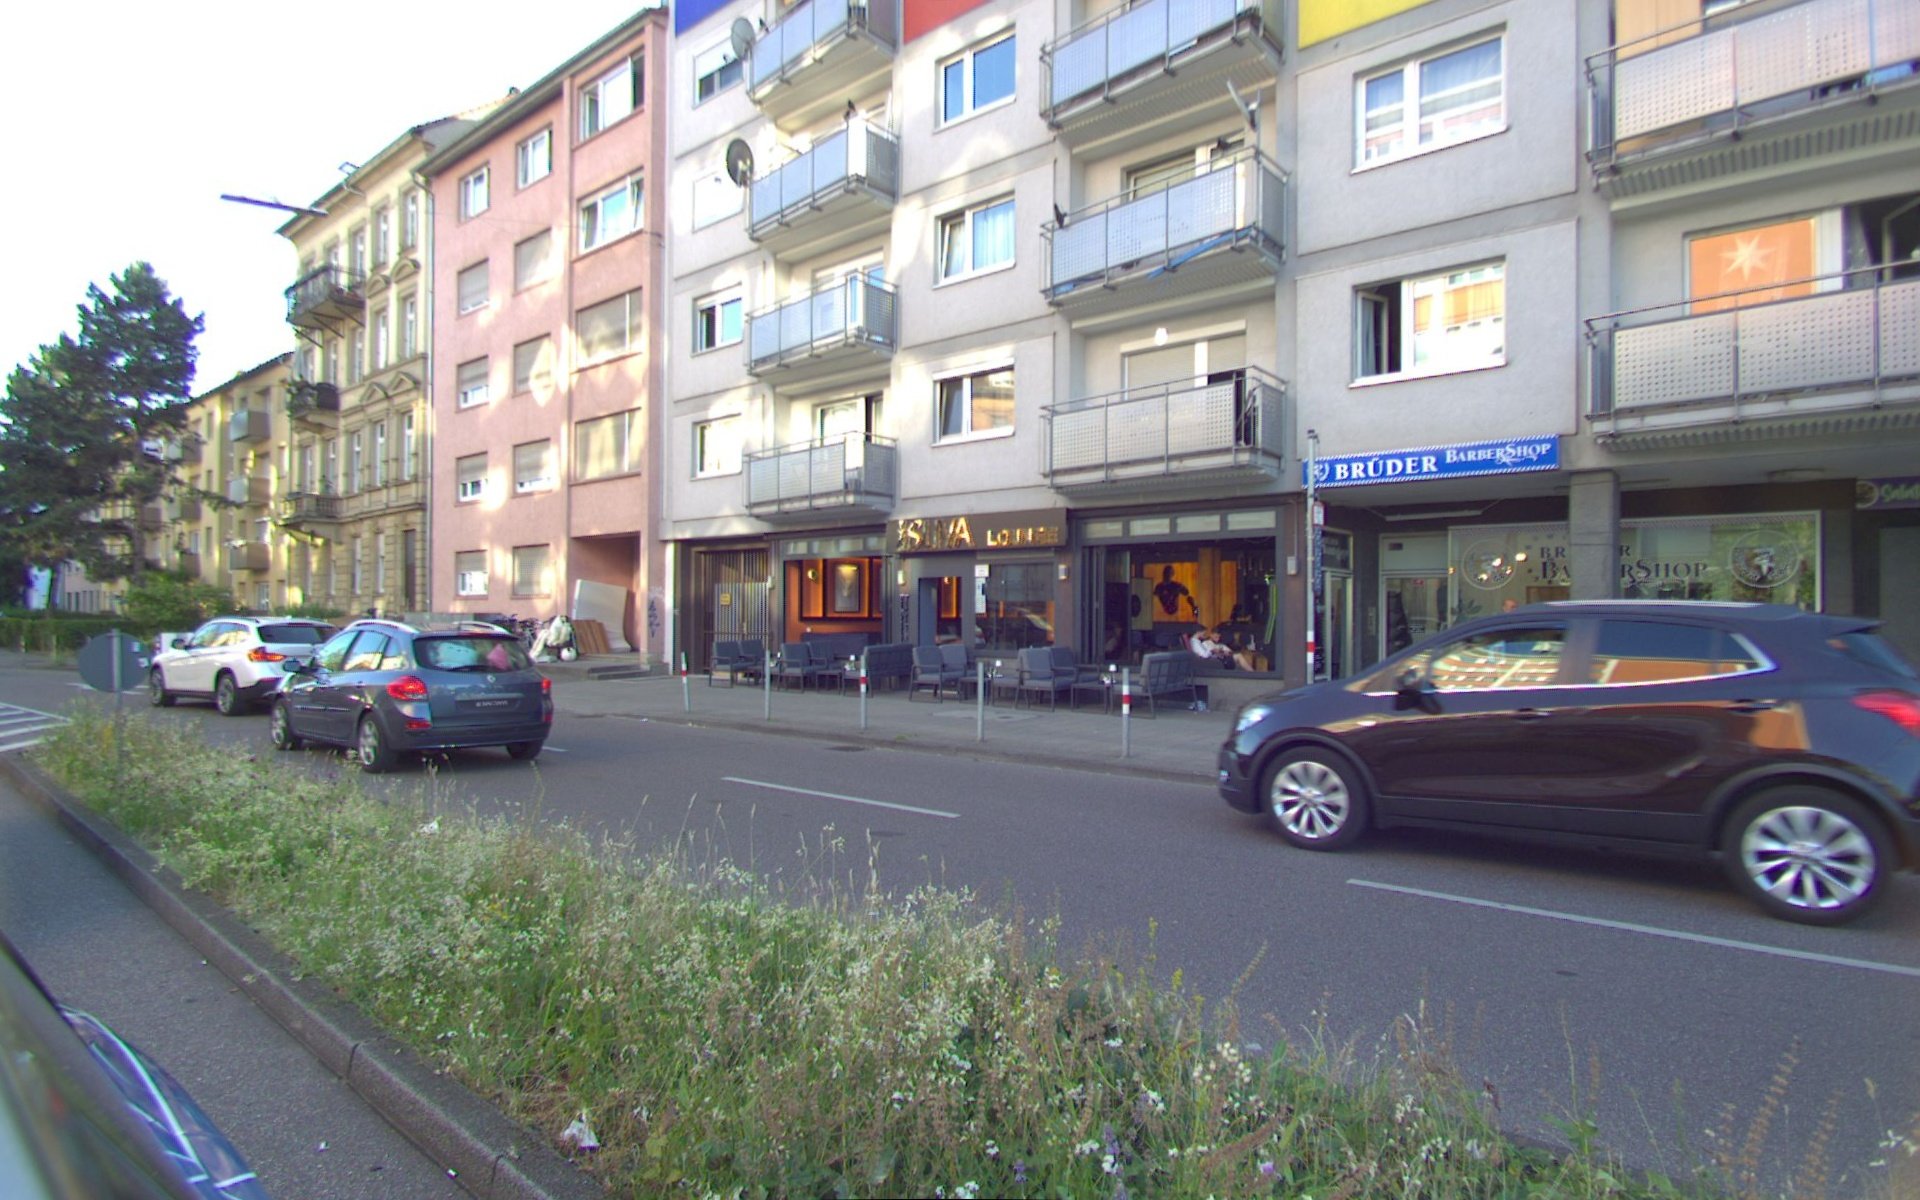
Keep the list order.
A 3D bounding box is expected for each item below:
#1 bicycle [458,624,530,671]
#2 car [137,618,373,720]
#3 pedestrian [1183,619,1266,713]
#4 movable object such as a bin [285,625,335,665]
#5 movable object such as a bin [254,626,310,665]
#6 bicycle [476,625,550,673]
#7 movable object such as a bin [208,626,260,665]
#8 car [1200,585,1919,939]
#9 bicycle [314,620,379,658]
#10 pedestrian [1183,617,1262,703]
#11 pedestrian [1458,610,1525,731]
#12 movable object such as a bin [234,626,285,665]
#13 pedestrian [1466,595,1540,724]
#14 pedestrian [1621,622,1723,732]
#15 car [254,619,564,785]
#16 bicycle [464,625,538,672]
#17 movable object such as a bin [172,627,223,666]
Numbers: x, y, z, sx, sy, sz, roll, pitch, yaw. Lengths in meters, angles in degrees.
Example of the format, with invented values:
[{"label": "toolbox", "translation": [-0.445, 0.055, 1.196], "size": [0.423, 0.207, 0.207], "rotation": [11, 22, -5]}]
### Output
[{"label": "bicycle", "translation": [-12.520, 1.262, 27.226], "size": [0.473, 1.200, 1.758], "rotation": [-1, -2, 38]}, {"label": "car", "translation": [-11.773, 1.083, 16.842], "size": [4.235, 1.499, 1.738], "rotation": [-1, -3, 33]}, {"label": "pedestrian", "translation": [4.012, 0.969, 15.316], "size": [0.882, 1.357, 0.961], "rotation": [-1, -2, 40]}, {"label": "movable object such as a bin", "translation": [-20.915, 1.438, 32.569], "size": [0.837, 1.242, 1.193], "rotation": [0, -1, 1]}, {"label": "movable object such as a bin", "translation": [-21.844, 1.448, 32.620], "size": [0.916, 1.242, 1.292], "rotation": [0, -1, 1]}, {"label": "bicycle", "translation": [-11.589, 1.244, 26.294], "size": [0.473, 1.200, 1.758], "rotation": [-1, -2, 38]}, {"label": "movable object such as a bin", "translation": [-23.640, 1.473, 32.964], "size": [0.837, 1.242, 1.193], "rotation": [0, -1, 1]}, {"label": "car", "translation": [3.780, 0.812, 6.384], "size": [4.098, 1.641, 1.702], "rotation": [-1, -3, 40]}, {"label": "bicycle", "translation": [-19.966, 1.246, 32.956], "size": [0.473, 1.200, 1.758], "rotation": [-1, -2, 38]}, {"label": "pedestrian", "translation": [4.315, 0.963, 16.630], "size": [0.974, 1.357, 0.871], "rotation": [-1, -2, 40]}, {"label": "pedestrian", "translation": [6.713, 0.866, 12.782], "size": [0.625, 1.478, 0.650], "rotation": [-1, -2, 38]}, {"label": "movable object such as a bin", "translation": [-22.771, 1.462, 32.905], "size": [0.837, 1.242, 1.193], "rotation": [0, -1, 1]}, {"label": "pedestrian", "translation": [7.222, 0.778, 13.485], "size": [0.650, 1.685, 0.625], "rotation": [0, -1, 5]}, {"label": "pedestrian", "translation": [8.826, 0.937, 12.567], "size": [0.798, 1.323, 0.626], "rotation": [0, -1, -3]}, {"label": "car", "translation": [-6.080, 0.978, 10.989], "size": [3.982, 1.482, 1.576], "rotation": [-2, -3, 40]}, {"label": "bicycle", "translation": [-12.132, 1.258, 26.788], "size": [0.473, 1.200, 1.758], "rotation": [-1, -2, 38]}, {"label": "movable object such as a bin", "translation": [-24.564, 1.485, 32.632], "size": [0.836, 1.242, 1.195], "rotation": [0, -1, -8]}]
